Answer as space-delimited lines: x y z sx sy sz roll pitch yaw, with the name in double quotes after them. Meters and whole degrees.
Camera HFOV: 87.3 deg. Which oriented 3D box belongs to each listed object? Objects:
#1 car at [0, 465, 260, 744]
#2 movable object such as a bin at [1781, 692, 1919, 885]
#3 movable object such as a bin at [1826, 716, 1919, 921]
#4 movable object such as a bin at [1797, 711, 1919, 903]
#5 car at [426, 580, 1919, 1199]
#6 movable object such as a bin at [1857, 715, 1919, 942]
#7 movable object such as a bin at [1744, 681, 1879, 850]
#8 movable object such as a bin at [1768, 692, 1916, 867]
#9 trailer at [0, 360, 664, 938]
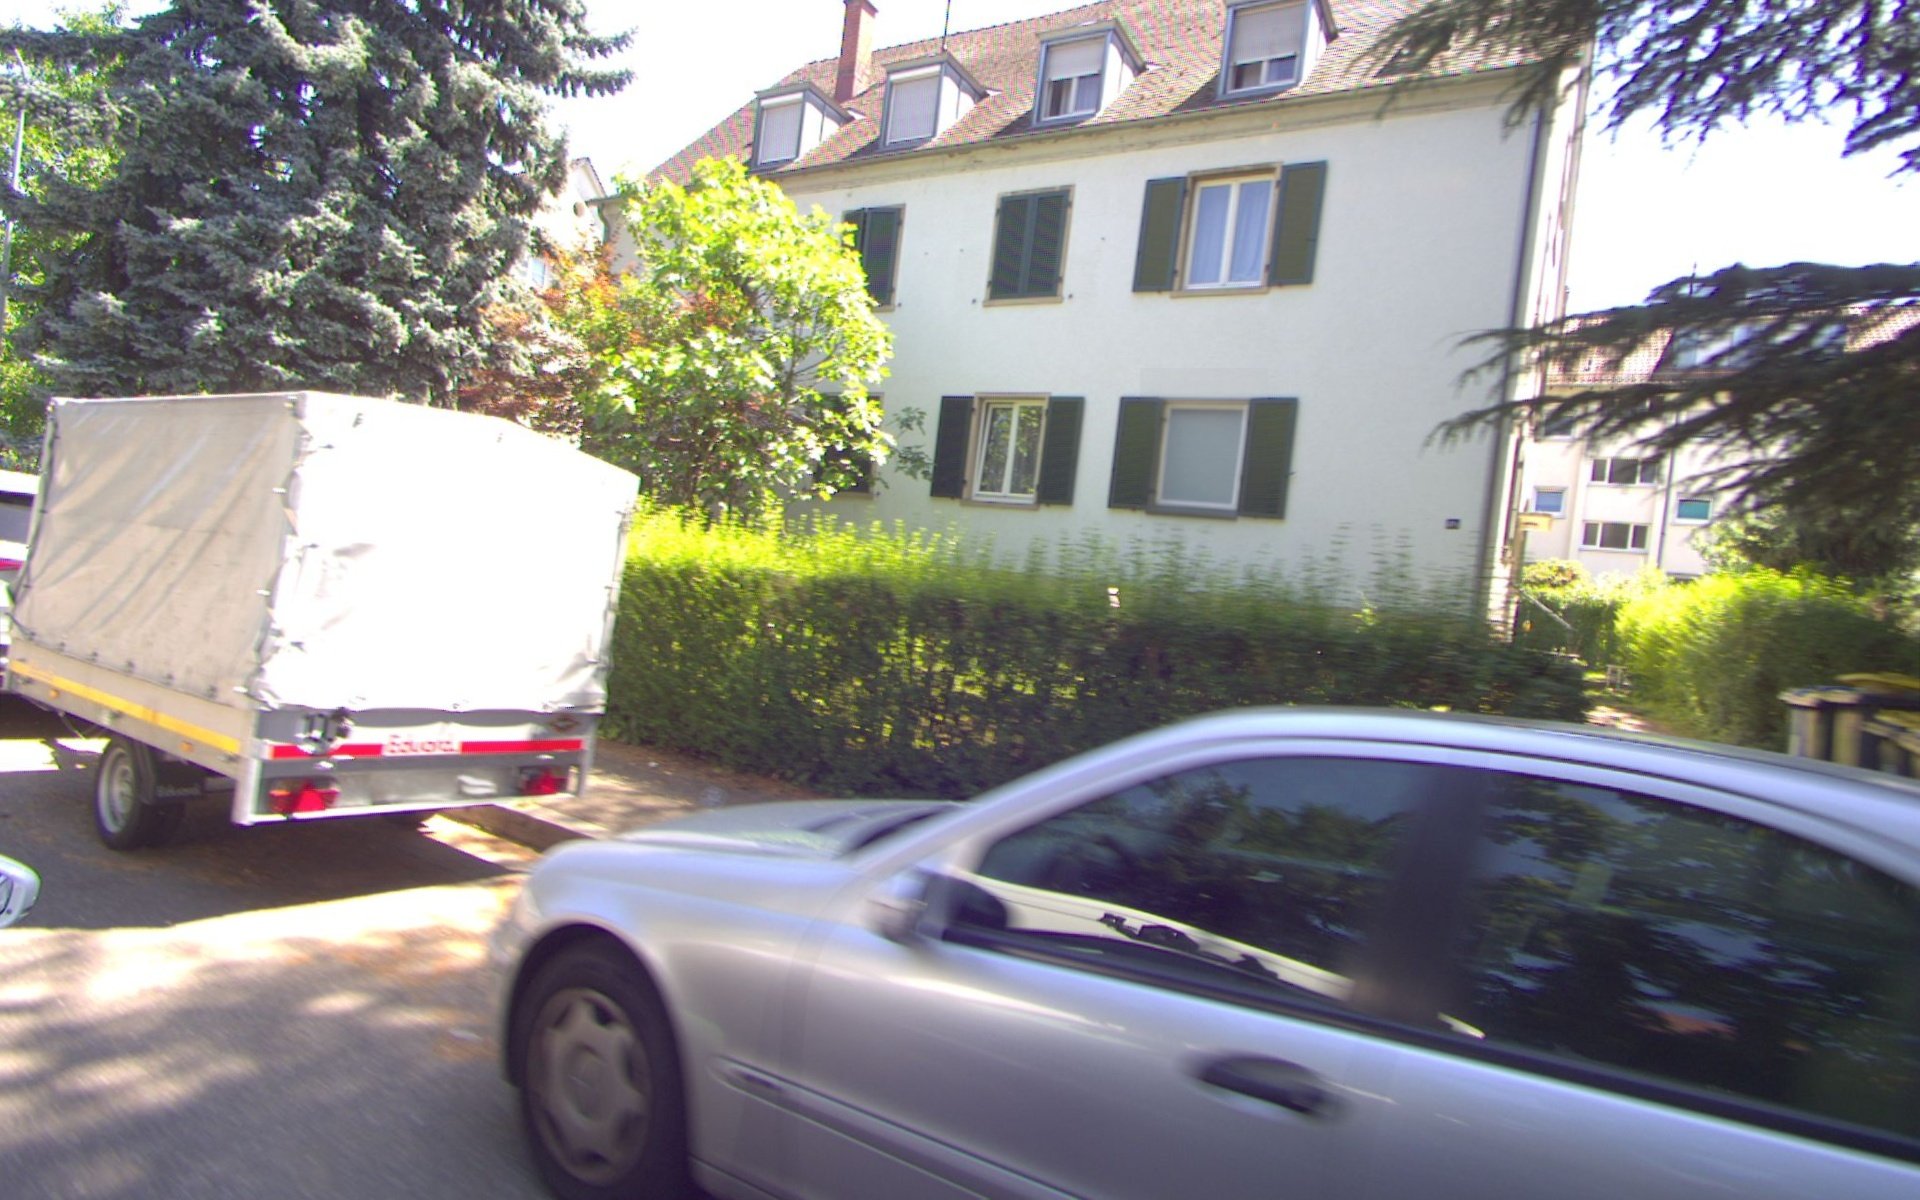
-7.402 -0.157 7.484 4.527 1.650 1.776 7 -2 31 "car"
5.379 1.097 6.029 0.528 1.007 0.512 7 2 30 "movable object such as a bin"
4.755 1.086 4.980 0.528 0.915 0.512 7 2 30 "movable object such as a bin"
5.041 1.118 5.506 0.528 0.915 0.512 7 2 30 "movable object such as a bin"
0.898 0.921 2.157 4.189 1.412 1.618 6 -2 32 "car"
4.497 1.045 4.504 0.528 0.954 0.512 7 2 30 "movable object such as a bin"
5.923 1.125 7.025 0.528 1.045 0.512 7 2 30 "movable object such as a bin"
5.661 1.129 6.492 0.528 0.984 0.512 7 2 30 "movable object such as a bin"
-3.597 0.072 5.277 3.646 2.091 1.684 7 -2 31 "trailer"
